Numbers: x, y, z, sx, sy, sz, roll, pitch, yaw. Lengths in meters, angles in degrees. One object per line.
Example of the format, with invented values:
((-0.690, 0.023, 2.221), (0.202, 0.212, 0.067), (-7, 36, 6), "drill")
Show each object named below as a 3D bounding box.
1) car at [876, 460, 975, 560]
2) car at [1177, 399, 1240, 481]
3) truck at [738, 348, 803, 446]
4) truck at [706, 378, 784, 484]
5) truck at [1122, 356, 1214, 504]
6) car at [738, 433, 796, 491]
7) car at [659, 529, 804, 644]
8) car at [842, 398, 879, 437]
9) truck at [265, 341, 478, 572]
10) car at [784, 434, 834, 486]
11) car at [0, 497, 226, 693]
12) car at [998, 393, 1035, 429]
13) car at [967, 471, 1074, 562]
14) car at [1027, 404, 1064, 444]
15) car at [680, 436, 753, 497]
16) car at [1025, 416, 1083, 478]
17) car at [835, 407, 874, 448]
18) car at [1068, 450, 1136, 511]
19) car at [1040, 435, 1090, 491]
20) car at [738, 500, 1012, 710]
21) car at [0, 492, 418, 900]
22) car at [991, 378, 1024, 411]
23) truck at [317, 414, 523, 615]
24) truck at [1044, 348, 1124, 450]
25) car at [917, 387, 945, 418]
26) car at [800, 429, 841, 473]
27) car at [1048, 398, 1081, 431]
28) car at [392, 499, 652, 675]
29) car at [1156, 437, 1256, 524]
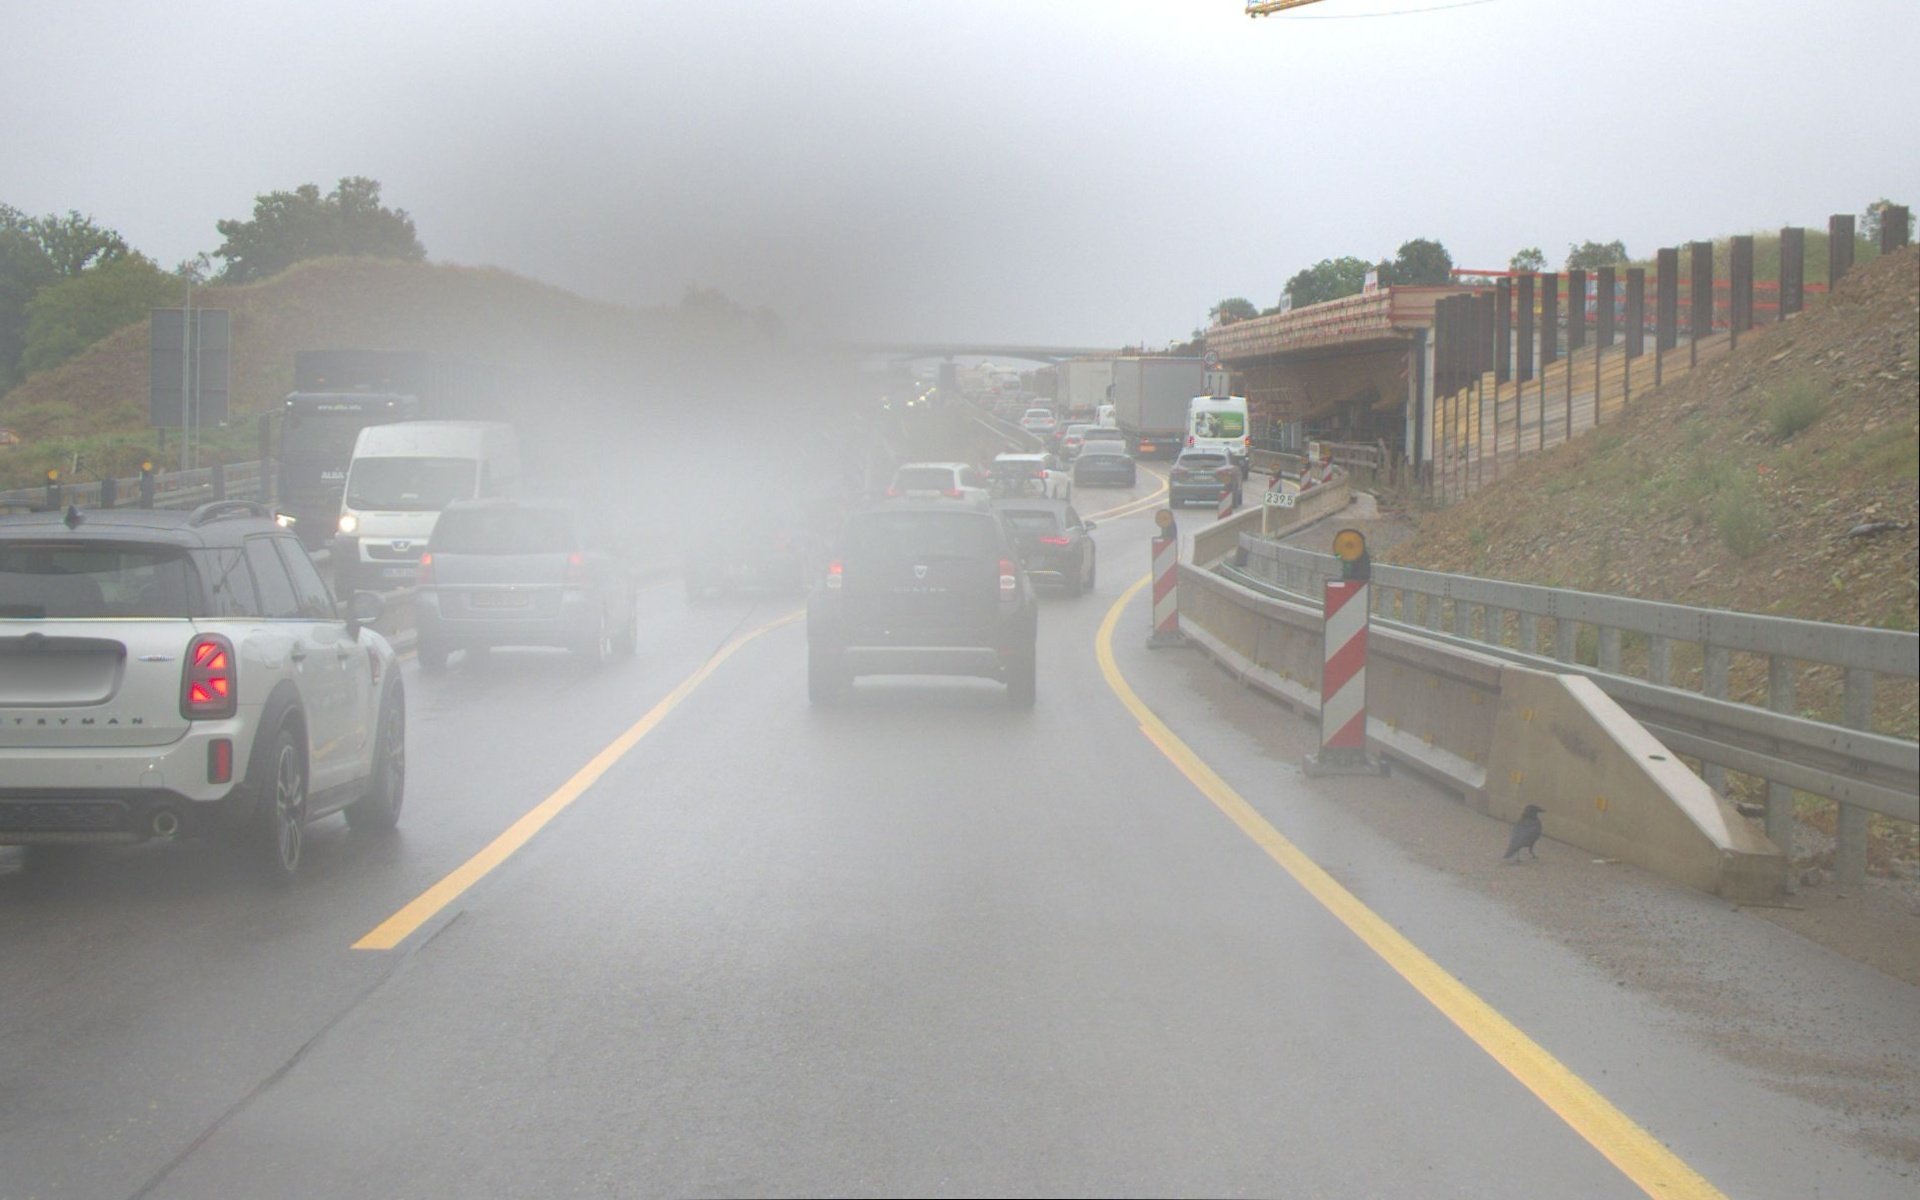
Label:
((-0.749, -1.903, 71.568), (1.993, 2.006, 3.894), (0, 2, -1), "car")
((8.303, -5.330, 115.013), (1.994, 2.476, 4.981), (0, 0, 3), "car")
((-10.933, -11.693, 199.005), (3.141, 5.399, 8.524), (1, 2, 0), "truck")
((-10.290, -8.069, 165.383), (3.083, 4.902, 8.564), (1, 2, 0), "truck")
((8.374, -6.678, 137.346), (3.102, 5.407, 9.440), (0, 0, 7), "truck")
((-6.670, -4.761, 118.887), (1.785, 1.803, 4.499), (0, 0, 0), "car")
((-3.299, -0.183, 50.303), (1.993, 1.595, 4.141), (0, 0, -2), "car")
((-6.516, -11.970, 225.821), (2.217, 2.362, 4.664), (1, 2, 0), "car")
((-10.796, -2.651, 63.870), (2.641, 3.956, 9.215), (0, 2, -2), "truck")
((-5.821, -5.405, 132.850), (1.785, 1.803, 4.499), (0, 0, 0), "car")
((-7.418, -0.087, 28.820), (1.676, 1.518, 4.345), (0, 1, -1), "car")
((3.276, -10.939, 199.207), (1.993, 2.007, 4.000), (0, 2, -1), "car")
((1.544, -2.071, 86.081), (1.994, 2.155, 4.138), (0, 0, 11), "car")
((4.490, -9.252, 181.335), (1.849, 1.887, 4.021), (0, 0, 0), "car")
((-6.967, -3.834, 98.928), (1.737, 1.678, 5.552), (1, 2, -1), "car")
((3.605, -5.834, 131.373), (1.994, 2.155, 4.140), (0, 0, 4), "car")
((-6.481, -10.595, 211.504), (2.238, 2.350, 4.877), (1, 2, 0), "car")
((4.381, -3.678, 106.311), (1.993, 1.755, 3.814), (0, 0, 1), "car")
((4.368, -5.682, 142.937), (1.993, 2.155, 4.140), (0, 0, 1), "car")
((-0.649, 0.043, 28.342), (2.081, 1.595, 4.140), (0, 0, 0), "car")
((-3.654, 0.358, 15.634), (1.816, 1.595, 4.308), (0, 0, -2), "car")
((3.091, -13.392, 224.509), (1.993, 2.007, 4.000), (0, 2, -1), "car")
((-7.710, -1.232, 49.623), (2.147, 2.704, 6.017), (0, 1, -1), "truck")
((7.021, -11.405, 196.843), (3.803, 5.025, 12.922), (0, 0, -1), "truck")
((-2.089, -14.265, 248.534), (1.993, 2.007, 4.000), (0, 0, -1), "car")
((-6.201, -6.626, 152.956), (1.623, 1.803, 3.637), (0, 0, 0), "car")
((7.157, -12.714, 235.942), (1.993, 2.007, 4.000), (0, 0, -1), "car")
((-4.193, -0.112, 33.512), (1.993, 1.595, 4.140), (0, 0, 0), "car")
((6.552, -3.137, 91.147), (1.995, 2.155, 4.138), (0, 0, 13), "car")
